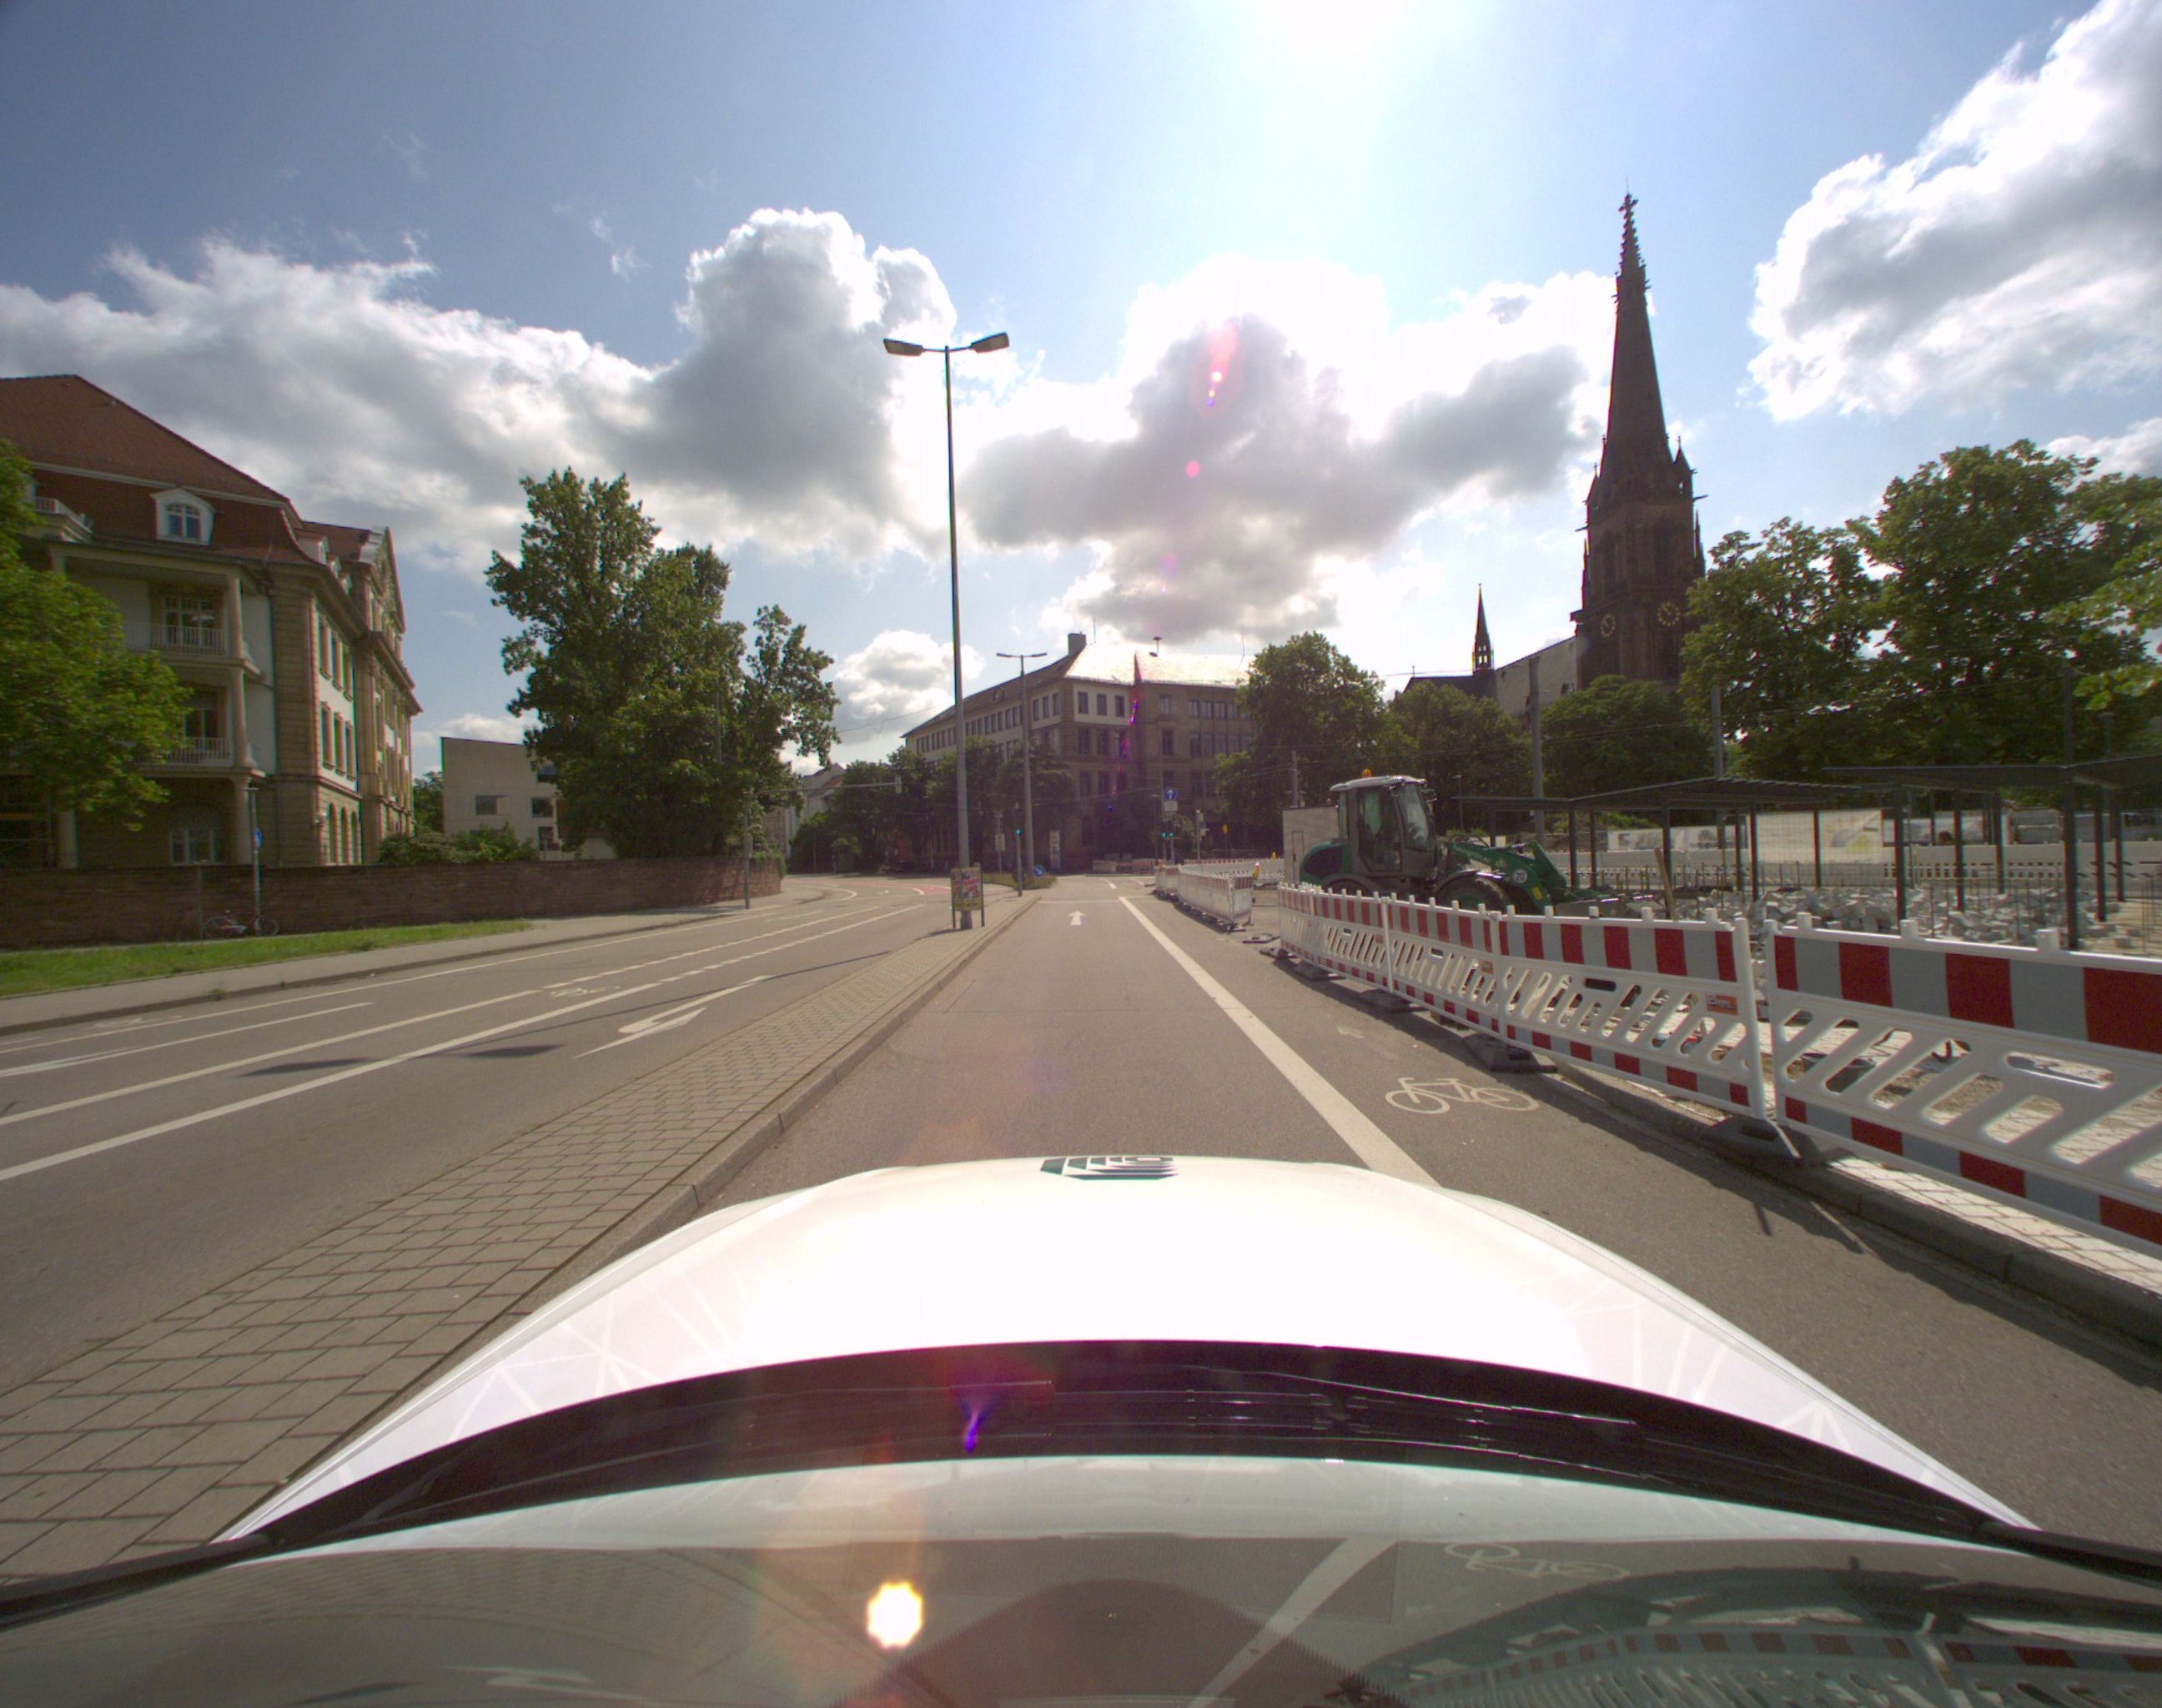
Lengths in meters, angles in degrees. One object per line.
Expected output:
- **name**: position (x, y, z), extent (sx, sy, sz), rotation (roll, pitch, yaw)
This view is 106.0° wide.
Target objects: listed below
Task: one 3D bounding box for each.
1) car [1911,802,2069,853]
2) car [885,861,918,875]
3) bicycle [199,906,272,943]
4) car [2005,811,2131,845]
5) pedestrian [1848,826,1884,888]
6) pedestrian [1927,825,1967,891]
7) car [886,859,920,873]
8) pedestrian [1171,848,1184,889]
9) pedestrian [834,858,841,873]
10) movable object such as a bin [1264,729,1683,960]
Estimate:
- **car**: position (37.188, -1.035, 33.429), extent (1.811, 1.881, 4.135), rotation (-2, 0, -35)
- **car**: position (-23.761, 1.866, 107.705), extent (3.982, 1.684, 1.799), rotation (-2, 0, -7)
- **bicycle**: position (-26.123, 2.173, 25.181), extent (0.389, 0.992, 1.532), rotation (-2, 0, 45)
- **car**: position (57.169, -1.457, 47.253), extent (1.787, 1.793, 4.334), rotation (-2, 0, -26)
- **pedestrian**: position (26.279, 0.092, 27.259), extent (0.767, 2.013, 0.741), rotation (-2, 0, -38)
- **pedestrian**: position (27.004, 0.118, 25.400), extent (0.754, 2.013, 0.754), rotation (-2, 0, -37)
- **car**: position (-22.992, 1.544, 105.298), extent (3.982, 1.684, 1.799), rotation (-2, 0, -7)
- **pedestrian**: position (4.452, 0.643, 37.408), extent (0.494, 1.850, 0.531), rotation (-2, 0, 10)
- **pedestrian**: position (-33.619, 1.585, 112.291), extent (0.700, 2.013, 0.887), rotation (-2, 0, -31)
- **movable object such as a bin**: position (5.925, -0.093, 12.948), extent (2.301, 2.884, 5.474), rotation (-2, 0, -43)
